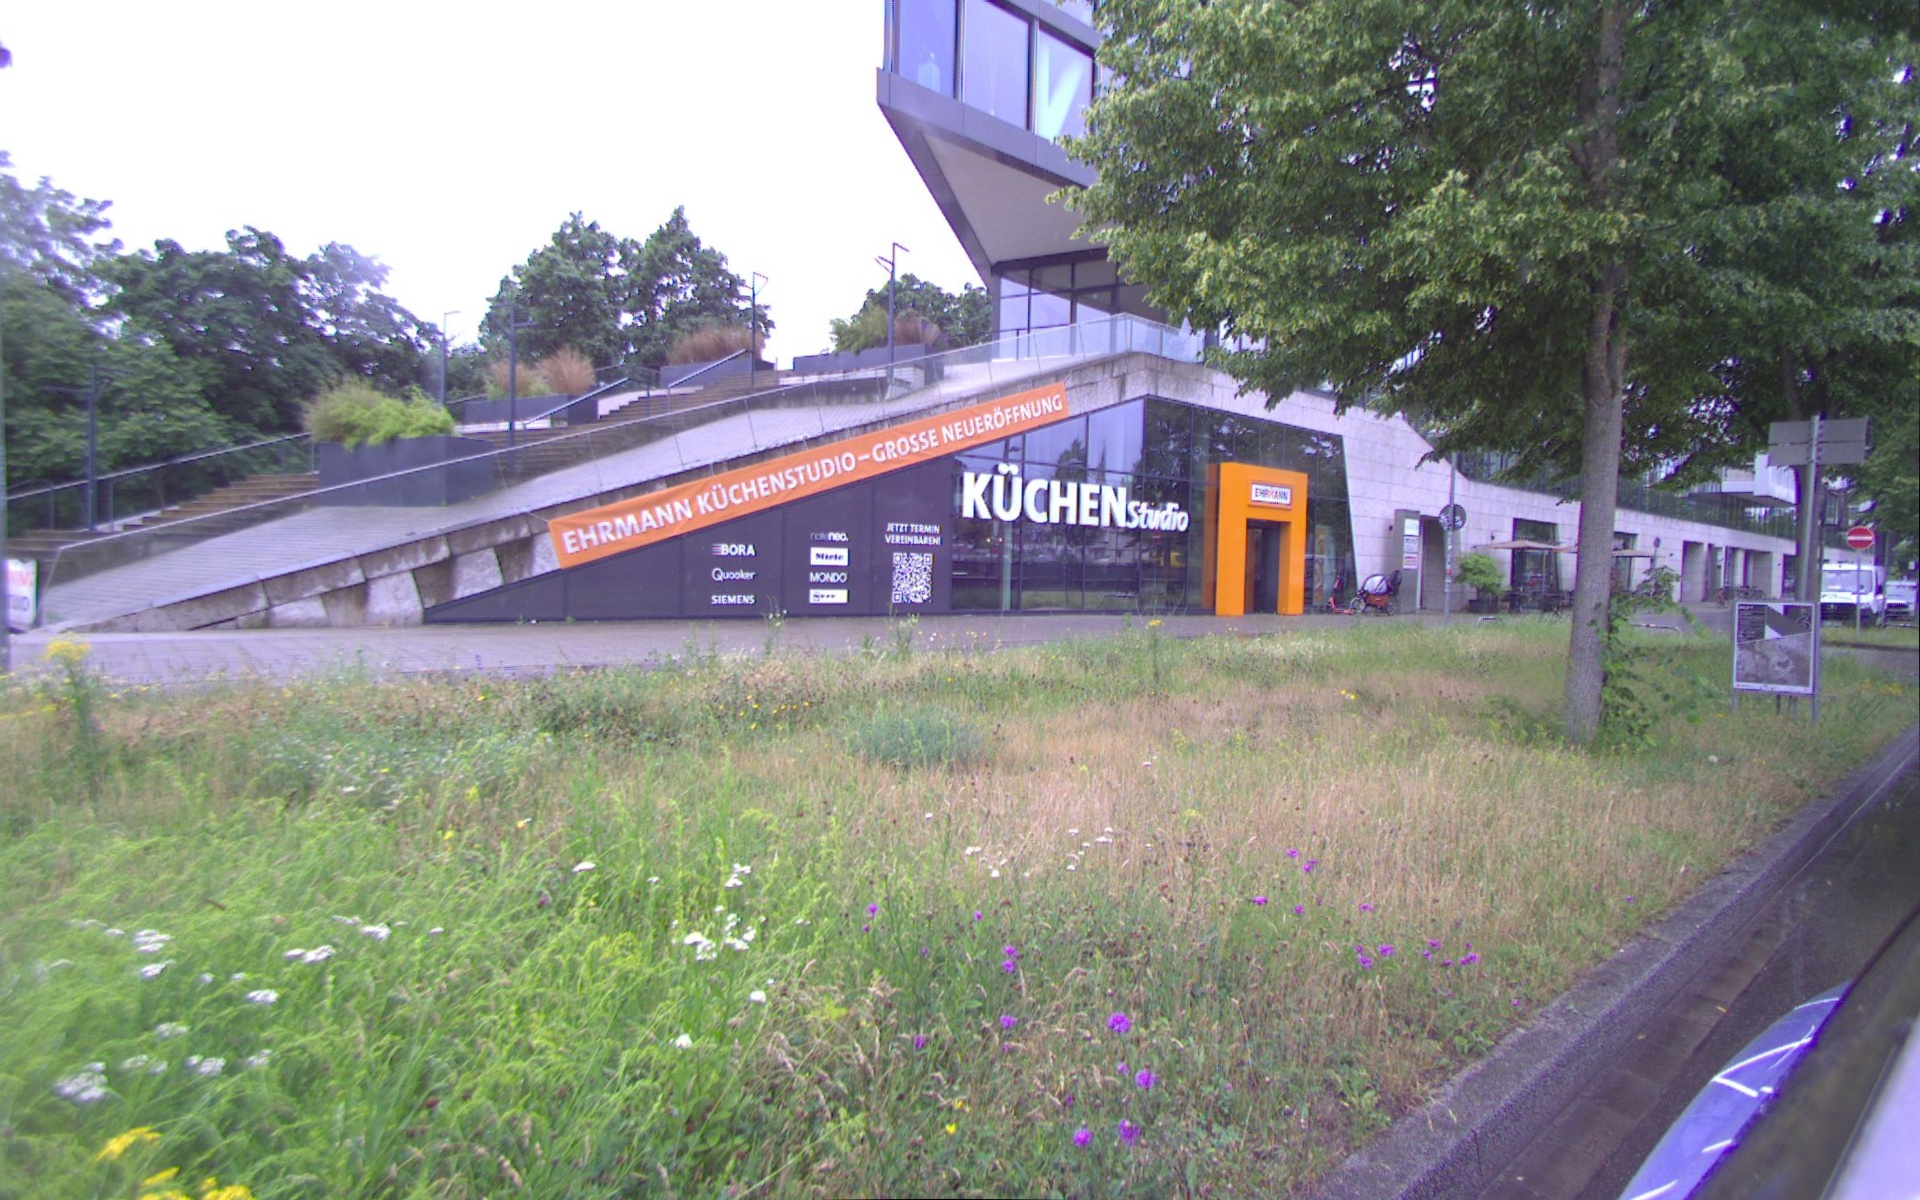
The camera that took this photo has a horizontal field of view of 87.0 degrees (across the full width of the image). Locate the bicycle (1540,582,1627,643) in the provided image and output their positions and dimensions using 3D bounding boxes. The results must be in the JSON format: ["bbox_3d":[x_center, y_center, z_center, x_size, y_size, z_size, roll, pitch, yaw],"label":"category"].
[{"bbox_3d":[14.588,0.278,23.748,0.521,1.363,1.852,2,1,-16],"label":"bicycle"}]

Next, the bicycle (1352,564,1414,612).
[{"bbox_3d":[13.258,-0.367,31.663,2.382,1.419,0.734,0,3,-41],"label":"bicycle"}]

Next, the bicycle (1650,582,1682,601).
[{"bbox_3d":[36.619,-0.444,52.515,0.388,0.958,2.028,-1,1,4],"label":"bicycle"}]

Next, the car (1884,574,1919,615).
[{"bbox_3d":[43.399,-0.274,45.906,4.766,1.781,1.744,-1,2,-42],"label":"car"}]

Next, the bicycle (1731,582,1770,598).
[{"bbox_3d":[52.617,-0.693,67.380,0.389,0.957,2.025,-1,4,-45],"label":"bicycle"}]

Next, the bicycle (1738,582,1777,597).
[{"bbox_3d":[54.786,-0.742,69.559,0.389,0.957,2.025,-1,4,-45],"label":"bicycle"}]

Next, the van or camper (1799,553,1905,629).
[{"bbox_3d":[29.635,-0.361,33.554,5.367,2.320,2.028,-1,2,-42],"label":"van or camper"}]

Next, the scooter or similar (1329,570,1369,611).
[{"bbox_3d":[11.791,-0.290,30.669,1.214,1.243,0.343,-1,0,-22],"label":"scooter or similar"}]

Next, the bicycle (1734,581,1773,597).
[{"bbox_3d":[53.890,-0.733,68.716,0.389,0.957,2.025,-1,4,-45],"label":"bicycle"}]

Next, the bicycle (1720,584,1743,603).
[{"bbox_3d":[40.351,-0.349,52.937,1.823,0.957,0.403,-1,2,-34],"label":"bicycle"}]

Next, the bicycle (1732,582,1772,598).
[{"bbox_3d":[53.136,-0.703,67.909,0.389,0.957,2.025,-1,4,-45],"label":"bicycle"}]

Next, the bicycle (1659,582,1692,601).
[{"bbox_3d":[37.232,-0.455,52.699,0.388,0.958,2.028,-1,1,4],"label":"bicycle"}]

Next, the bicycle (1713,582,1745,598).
[{"bbox_3d":[49.495,-0.660,65.153,0.339,0.957,1.665,0,3,-22],"label":"bicycle"}]
